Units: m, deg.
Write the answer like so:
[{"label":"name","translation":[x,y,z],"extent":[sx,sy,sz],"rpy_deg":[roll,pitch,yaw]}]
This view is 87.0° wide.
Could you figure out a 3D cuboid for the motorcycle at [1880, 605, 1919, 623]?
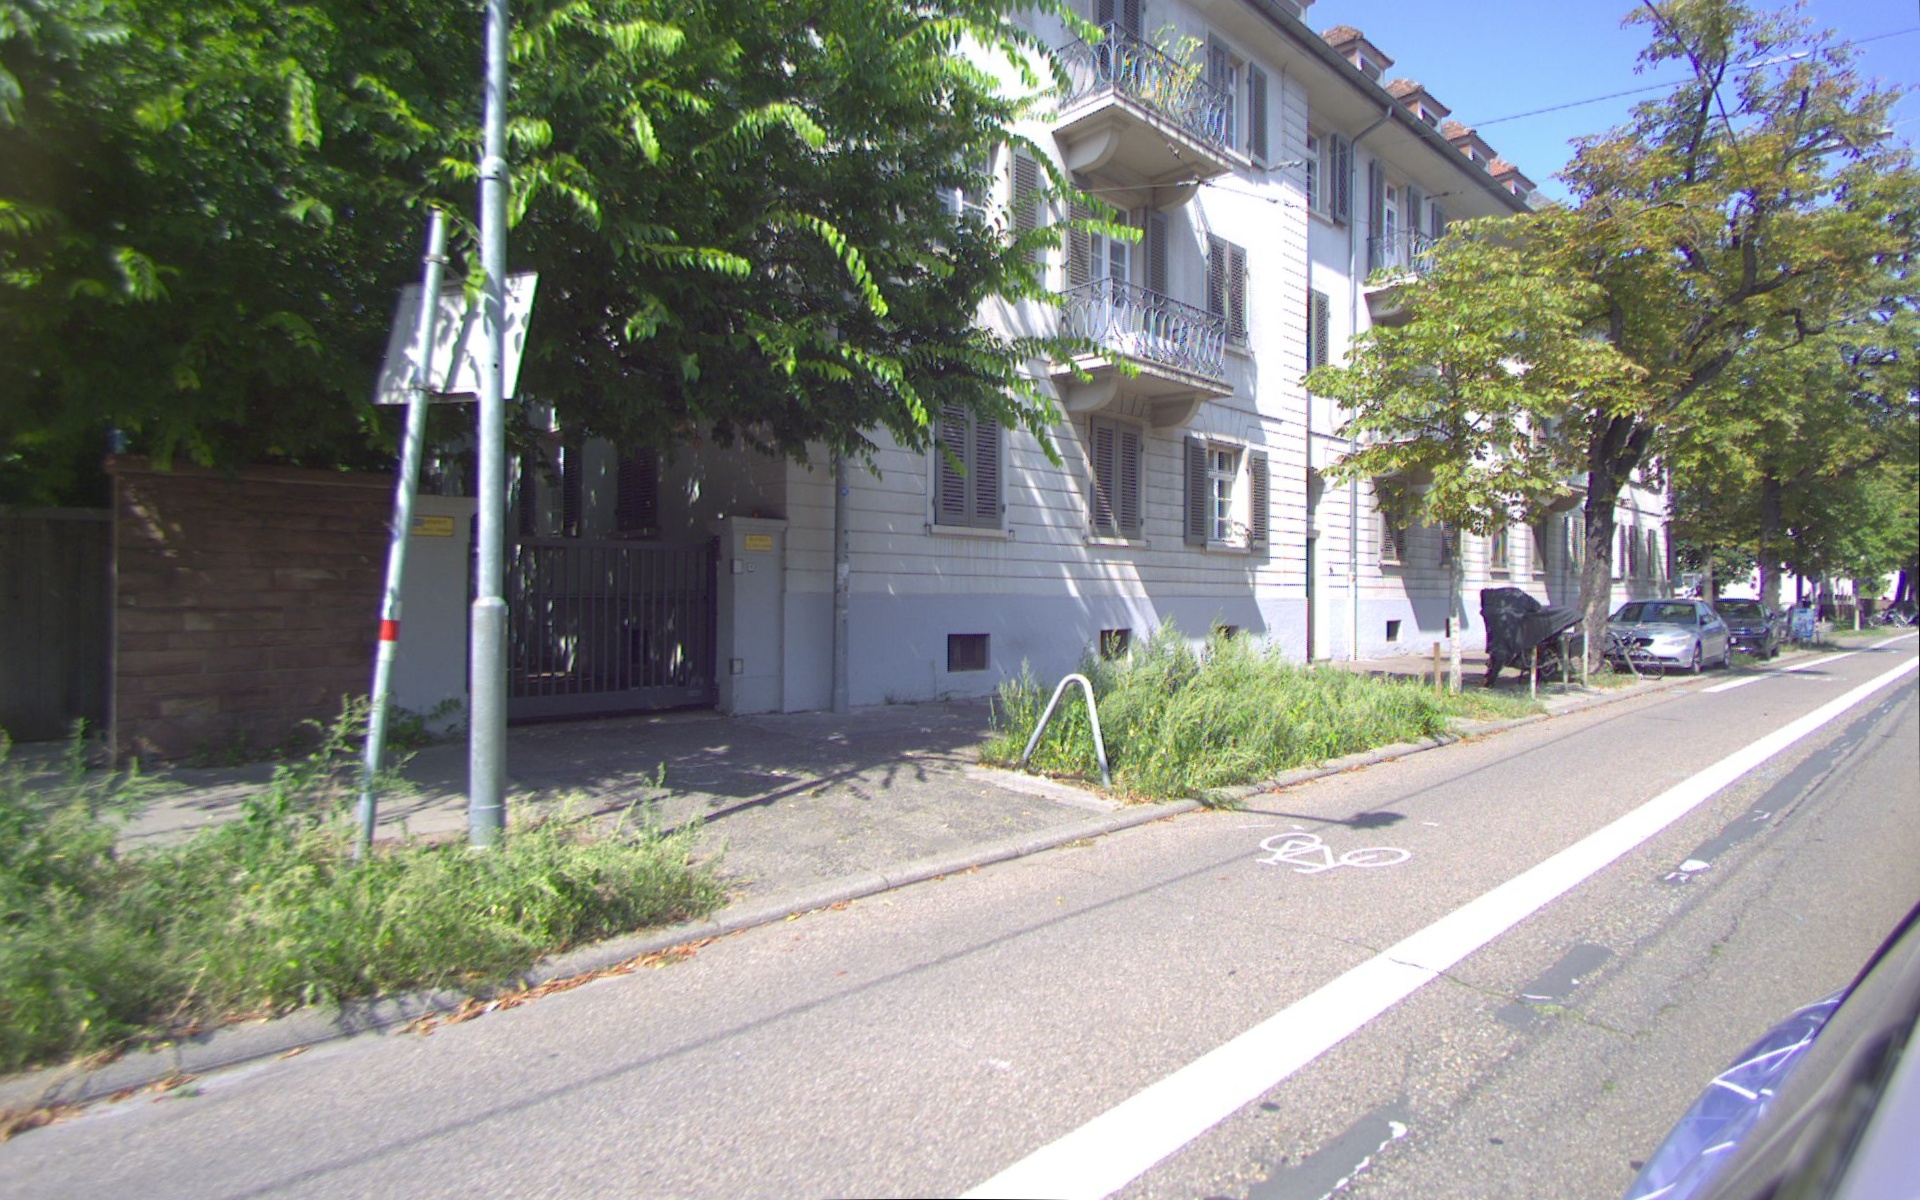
[{"label":"motorcycle","translation":[55.761,0.806,59.791],"extent":[0.783,1.028,1.997],"rpy_deg":[0,0,-42]}]

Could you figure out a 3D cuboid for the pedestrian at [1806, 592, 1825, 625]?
[{"label":"pedestrian","translation":[47.947,0.487,56.693],"extent":[0.621,1.808,0.748],"rpy_deg":[1,0,-42]}]

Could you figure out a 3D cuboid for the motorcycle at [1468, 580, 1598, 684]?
[{"label":"motorcycle","translation":[9.230,0.470,16.262],"extent":[2.366,1.572,0.889],"rpy_deg":[0,1,-35]}]

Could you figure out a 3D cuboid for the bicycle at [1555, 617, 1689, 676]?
[{"label":"bicycle","translation":[12.028,0.818,18.441],"extent":[0.708,0.964,1.927],"rpy_deg":[0,0,-39]}]

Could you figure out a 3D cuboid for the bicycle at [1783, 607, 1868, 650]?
[{"label":"bicycle","translation":[24.069,0.764,28.166],"extent":[0.645,1.137,1.757],"rpy_deg":[1,0,-43]}]

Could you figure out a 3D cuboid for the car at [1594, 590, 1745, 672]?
[{"label":"car","translation":[14.679,0.560,20.834],"extent":[1.783,1.469,4.674],"rpy_deg":[1,1,45]}]

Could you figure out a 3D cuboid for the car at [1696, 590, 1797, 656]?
[{"label":"car","translation":[20.263,0.533,26.006],"extent":[1.663,1.526,4.366],"rpy_deg":[1,1,43]}]
